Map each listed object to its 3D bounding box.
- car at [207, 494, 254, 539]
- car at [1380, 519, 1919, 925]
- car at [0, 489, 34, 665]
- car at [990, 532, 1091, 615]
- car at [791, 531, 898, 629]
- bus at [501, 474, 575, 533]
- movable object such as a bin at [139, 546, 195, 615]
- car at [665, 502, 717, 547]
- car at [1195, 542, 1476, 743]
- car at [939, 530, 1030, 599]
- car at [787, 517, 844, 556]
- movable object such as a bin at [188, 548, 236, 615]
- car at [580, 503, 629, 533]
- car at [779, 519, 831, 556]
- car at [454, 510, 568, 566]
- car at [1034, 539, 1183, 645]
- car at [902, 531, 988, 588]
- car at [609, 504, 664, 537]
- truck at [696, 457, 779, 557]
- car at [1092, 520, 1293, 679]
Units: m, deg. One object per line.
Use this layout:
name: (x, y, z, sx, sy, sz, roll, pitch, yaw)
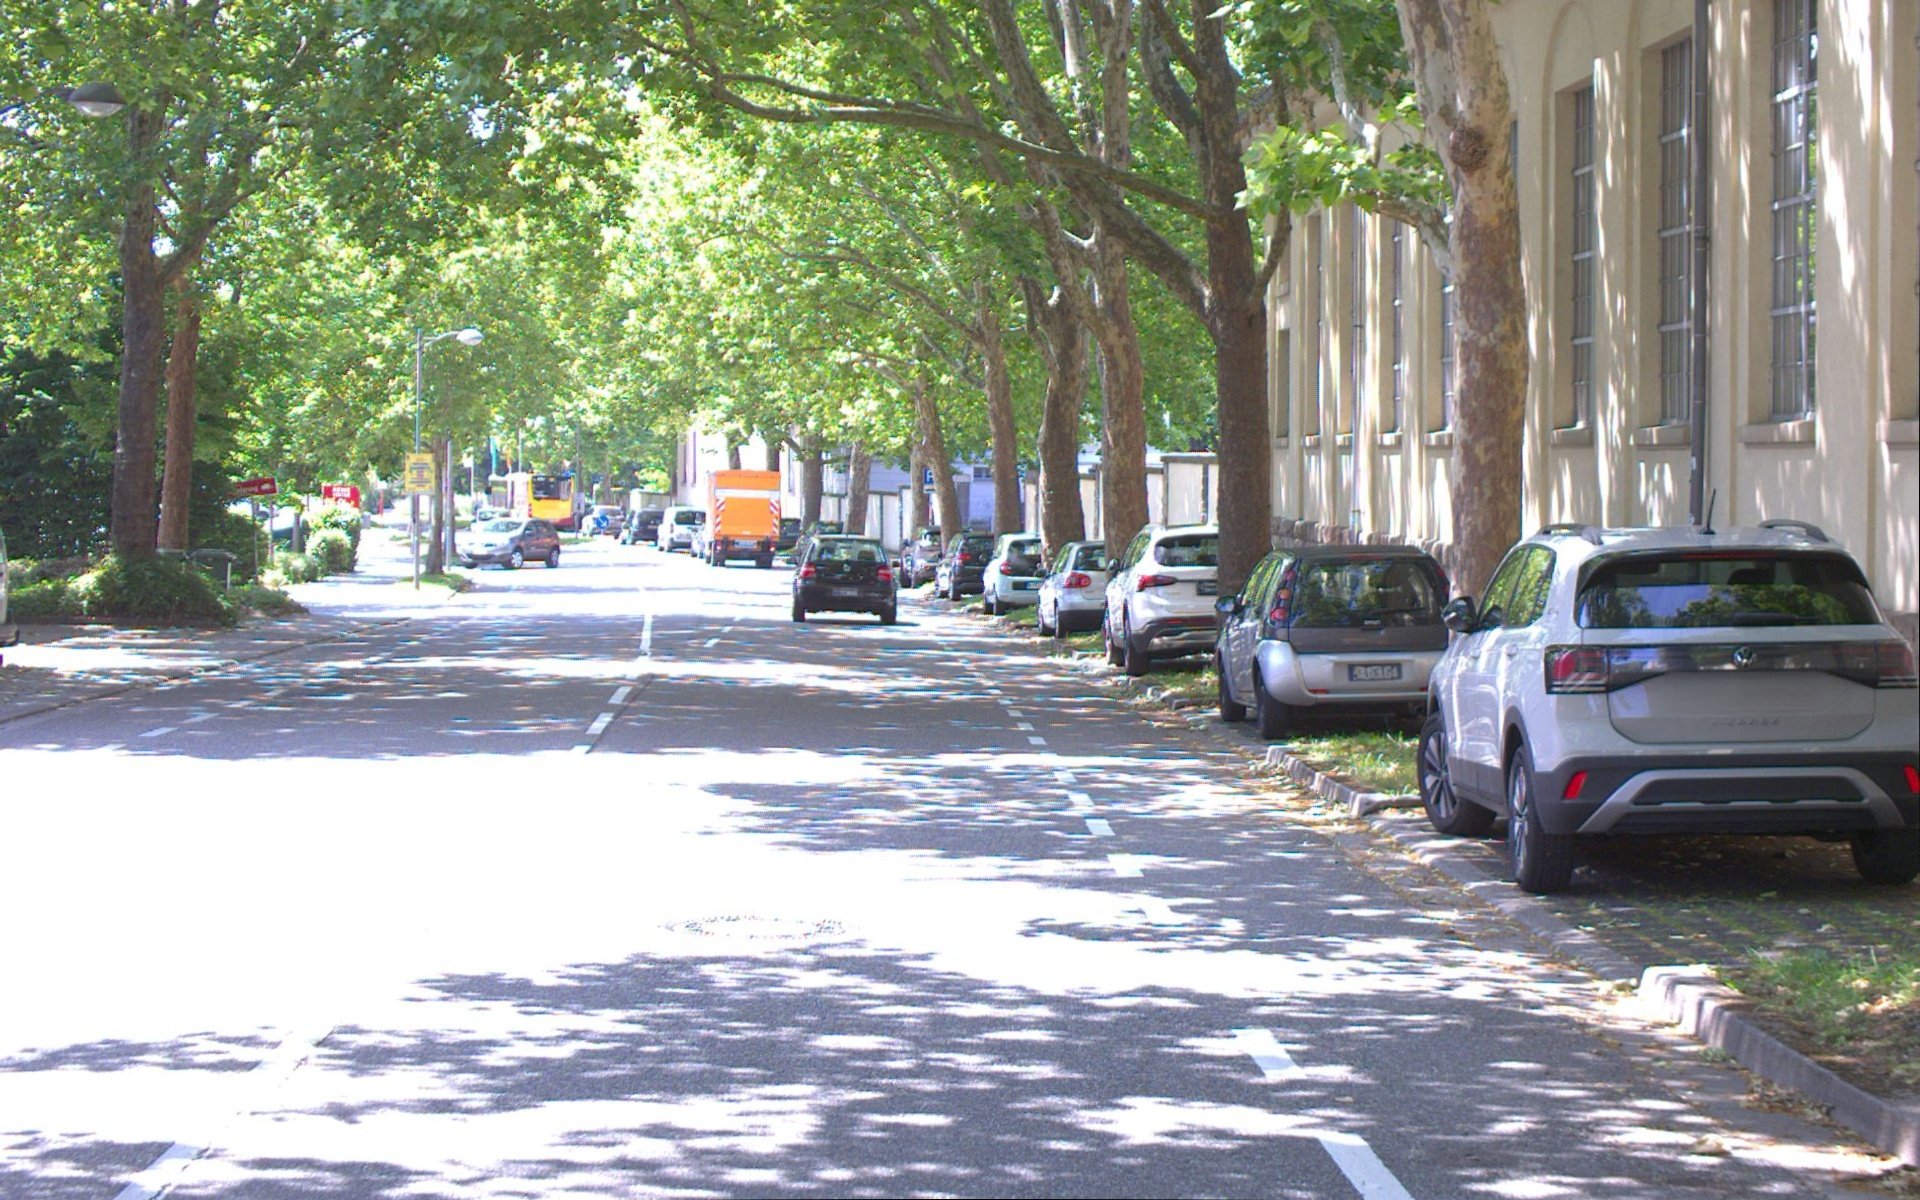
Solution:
car: (-34.079, -3.892, 160.569, 1.993, 2.007, 4.001, 0, 0, -15)
car: (3.203, 0.441, 16.379, 1.741, 1.552, 4.780, -2, 2, 0)
car: (-11.920, -0.303, 35.684, 4.128, 1.798, 1.903, 2, 1, -4)
car: (1.490, -0.522, 64.840, 1.577, 1.461, 3.876, -1, 1, -3)
car: (-1.956, -0.355, 57.376, 1.711, 1.442, 4.059, 0, 3, -3)
bus: (-23.472, -5.329, 190.933, 2.663, 3.139, 11.201, -1, 1, -14)
movable object such as a bin: (-12.431, -0.312, 53.885, 0.734, 1.074, 0.701, 0, 1, -2)
car: (-10.527, -2.949, 134.330, 1.879, 1.680, 4.001, 0, 0, -7)
car: (2.954, 0.280, 27.829, 1.621, 1.435, 4.433, -1, 1, -2)
car: (0.521, -0.815, 77.376, 1.766, 1.461, 3.876, -1, 1, -3)
car: (-5.180, -2.256, 122.681, 1.766, 1.369, 3.731, 0, 1, -7)
movable object such as a bin: (-11.737, -0.289, 53.931, 0.623, 1.045, 0.620, 0, 1, -1)
car: (-16.845, -3.877, 162.952, 1.766, 1.369, 3.731, -2, 1, -14)
car: (-6.116, -2.464, 135.219, 1.766, 1.369, 3.731, -1, 1, -6)
car: (-13.867, -1.907, 106.422, 1.995, 1.660, 3.996, 0, 0, 18)
car: (2.133, -0.141, 50.243, 1.766, 1.428, 3.876, -1, 1, -3)
car: (-0.401, -1.042, 87.017, 1.766, 1.369, 3.731, -1, 1, -6)
car: (-14.004, -3.411, 148.597, 1.766, 1.369, 3.731, -2, 1, -15)
truck: (-7.318, -3.010, 112.741, 2.370, 3.123, 5.770, 0, 0, -7)
car: (2.611, -0.059, 39.610, 1.807, 1.683, 4.752, -1, 1, -2)
